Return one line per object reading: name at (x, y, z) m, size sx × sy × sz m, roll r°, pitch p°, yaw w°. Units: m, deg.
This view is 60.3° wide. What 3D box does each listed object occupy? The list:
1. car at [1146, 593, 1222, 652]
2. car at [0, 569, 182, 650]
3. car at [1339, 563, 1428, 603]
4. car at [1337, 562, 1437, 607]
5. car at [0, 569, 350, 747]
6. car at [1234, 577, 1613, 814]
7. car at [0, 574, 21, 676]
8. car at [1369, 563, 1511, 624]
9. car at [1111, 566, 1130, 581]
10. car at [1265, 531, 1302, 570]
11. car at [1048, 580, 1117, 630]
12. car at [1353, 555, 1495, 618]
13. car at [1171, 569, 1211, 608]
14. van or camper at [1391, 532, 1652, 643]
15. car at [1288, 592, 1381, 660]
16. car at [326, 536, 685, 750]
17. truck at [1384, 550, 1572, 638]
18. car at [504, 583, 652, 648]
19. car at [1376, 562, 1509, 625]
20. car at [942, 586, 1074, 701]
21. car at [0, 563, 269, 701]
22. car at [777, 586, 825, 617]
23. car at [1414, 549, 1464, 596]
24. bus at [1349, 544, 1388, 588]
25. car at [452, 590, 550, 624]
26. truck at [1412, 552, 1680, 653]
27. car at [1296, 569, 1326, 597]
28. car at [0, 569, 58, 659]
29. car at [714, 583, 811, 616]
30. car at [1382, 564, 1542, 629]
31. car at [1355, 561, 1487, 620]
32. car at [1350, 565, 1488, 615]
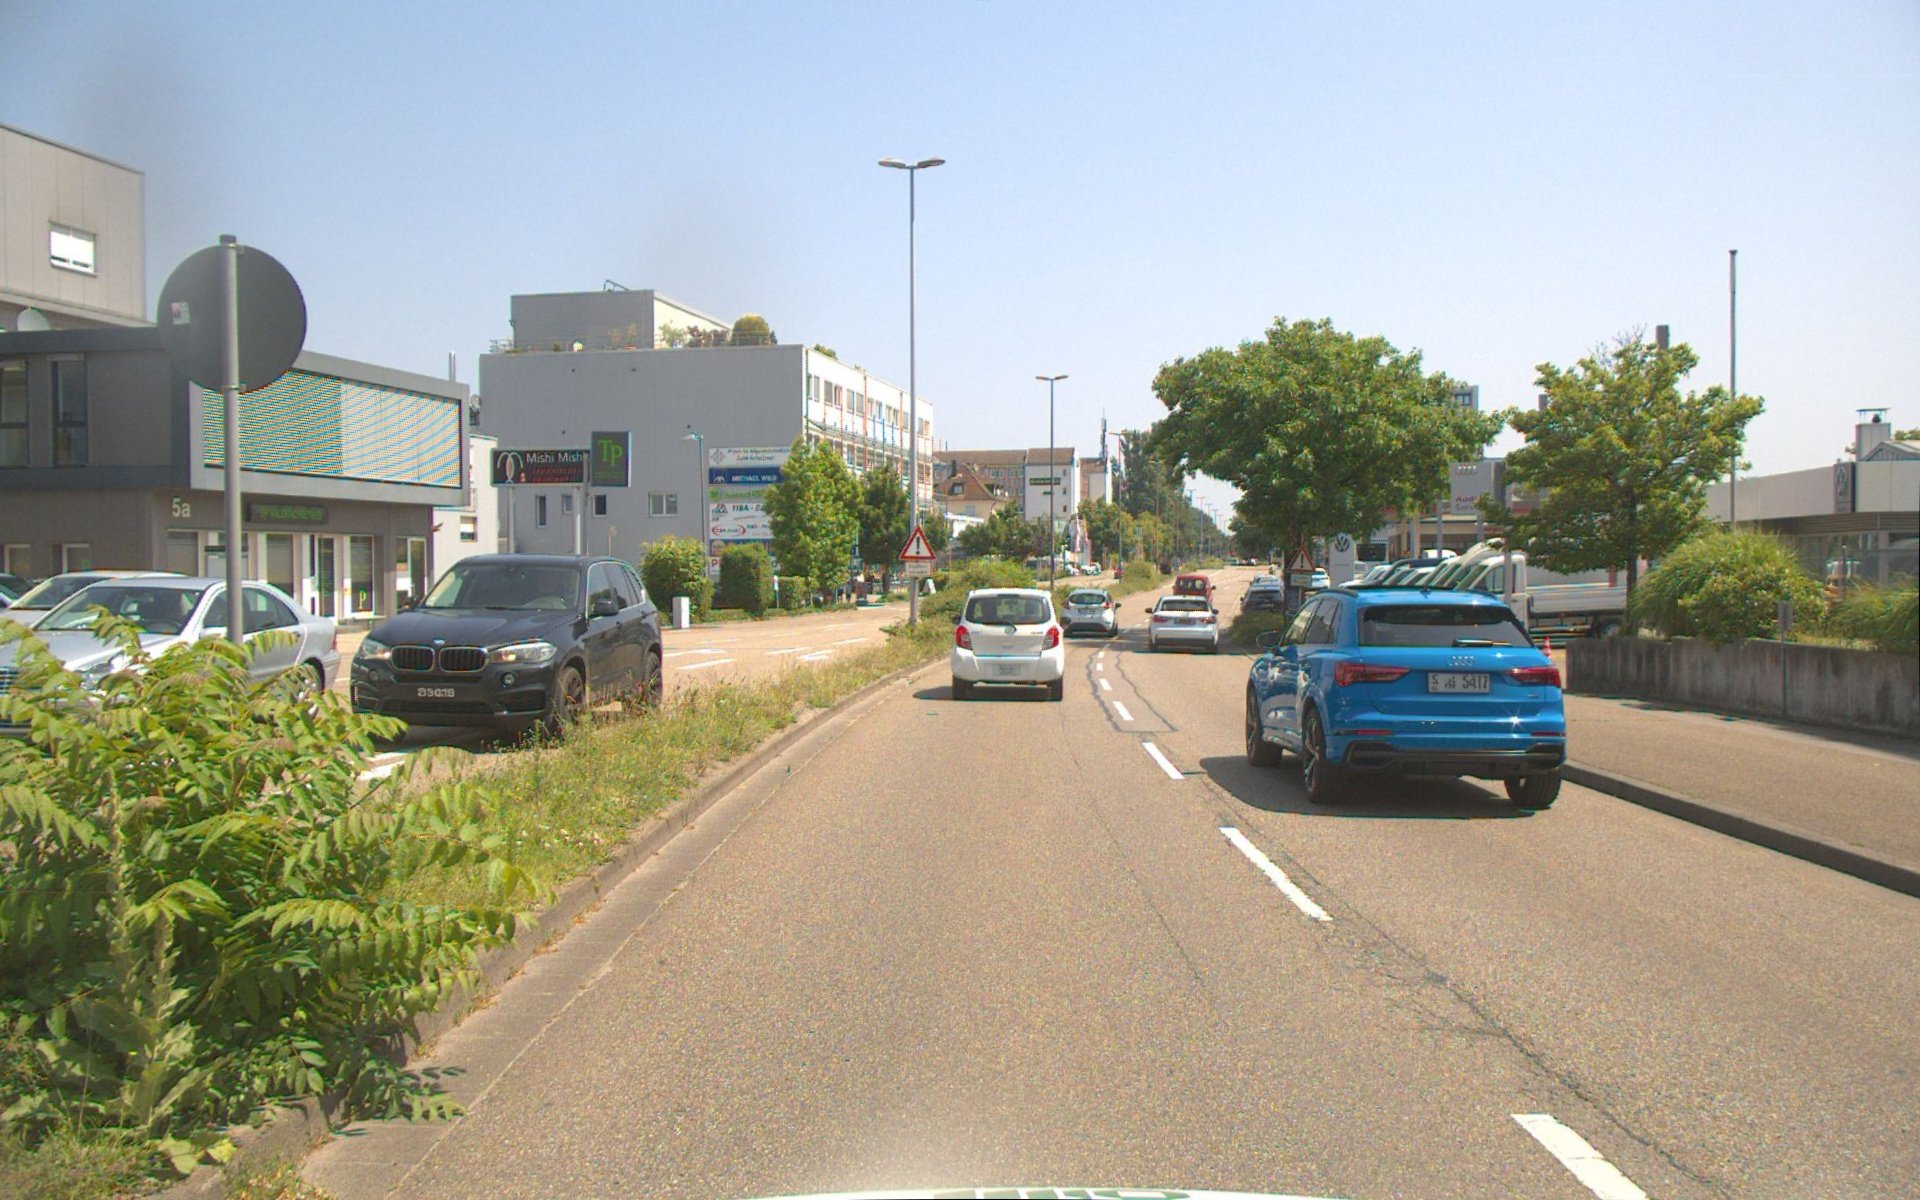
car at (5.673, 0.544, 42.202) m, size 1.632 × 1.423 × 3.795 m, roll 1°, pitch 0°, yaw 3°
car at (-17.942, 0.187, 32.913) m, size 3.970 × 1.548 × 2.002 m, roll 0°, pitch 0°, yaw 7°
car at (20.848, -0.824, 81.627) m, size 4.061 × 1.812 × 1.883 m, roll -1°, pitch -1°, yaw 9°
car at (21.105, -0.756, 81.828) m, size 4.541 × 2.048 × 1.962 m, roll -2°, pitch 1°, yaw 8°
car at (-7.393, 0.455, 15.133) m, size 1.857 × 1.384 × 4.199 m, roll 1°, pitch 0°, yaw 3°
car at (3.551, 0.637, 13.576) m, size 1.874 × 1.625 × 4.395 m, roll 0°, pitch 1°, yaw 0°
car at (-18.025, 0.283, 26.945) m, size 4.508 × 1.655 × 1.855 m, roll 3°, pitch 1°, yaw 9°
car at (18.345, -0.247, 63.436) m, size 4.956 × 2.133 × 2.042 m, roll -2°, pitch 0°, yaw 9°
car at (16.998, -2.815, 174.884) m, size 1.596 × 1.448 × 3.454 m, roll -3°, pitch 0°, yaw 12°
car at (26.268, -3.992, 134.453) m, size 2.088 × 2.888 × 7.315 m, roll -5°, pitch 0°, yaw 6°
car at (3.836, 0.147, 52.351) m, size 1.793 × 1.475 × 3.999 m, roll 1°, pitch 0°, yaw -1°
car at (19.799, -0.575, 70.871) m, size 5.718 × 2.568 × 2.206 m, roll 1°, pitch 0°, yaw 13°
car at (10.899, -0.511, 77.942) m, size 1.756 × 1.759 × 3.976 m, roll 1°, pitch 0°, yaw 8°
van or camper at (15.689, -0.351, 46.563) m, size 6.651 × 2.948 × 2.277 m, roll -1°, pitch 1°, yaw 9°
car at (8.674, 0.558, 38.623) m, size 1.759 × 1.430 × 4.324 m, roll 1°, pitch 1°, yaw 8°
car at (-4.263, 0.382, 16.432) m, size 1.868 × 1.781 × 4.762 m, roll 1°, pitch 0°, yaw 5°
truck at (15.425, -0.180, 49.497) m, size 5.135 × 2.478 × 2.113 m, roll -1°, pitch 1°, yaw 12°
car at (-8.572, 0.327, 37.488) m, size 1.766 × 1.378 × 4.359 m, roll 0°, pitch 0°, yaw 9°
car at (17.580, -0.216, 60.453) m, size 4.413 × 2.049 × 2.200 m, roll -3°, pitch -1°, yaw 11°
car at (0.638, 0.608, 24.176) m, size 1.678 × 1.537 × 3.245 m, roll 1°, pitch 0°, yaw -2°
car at (-10.895, 0.375, 21.478) m, size 1.857 × 1.594 × 4.200 m, roll 1°, pitch 0°, yaw 4°
car at (-8.596, 0.057, 89.538) m, size 1.624 × 1.493 × 3.802 m, roll -2°, pitch 1°, yaw 9°
car at (29.452, -1.729, 101.863) m, size 2.208 × 2.722 × 7.025 m, roll -1°, pitch 1°, yaw 10°
bus at (31.626, -2.709, 128.227) m, size 2.745 × 3.132 × 12.297 m, roll 1°, pitch 2°, yaw 14°
car at (-21.203, 0.314, 76.469) m, size 3.888 × 1.493 × 1.965 m, roll -1°, pitch 1°, yaw 5°
truck at (14.777, 0.041, 42.106) m, size 6.112 × 2.377 × 2.371 m, roll -1°, pitch 1°, yaw 11°
car at (21.826, -1.072, 103.038) m, size 1.631 × 1.623 × 4.617 m, roll -1°, pitch 1°, yaw 10°
car at (-19.112, 0.117, 29.978) m, size 4.511 × 1.522 × 1.753 m, roll 4°, pitch 1°, yaw 2°
car at (-9.295, -0.034, 77.922) m, size 4.133 × 1.372 × 1.982 m, roll -1°, pitch 1°, yaw 9°
car at (16.588, -0.124, 54.891) m, size 4.808 × 2.005 × 2.144 m, roll -1°, pitch 0°, yaw 10°
car at (18.322, -0.385, 65.926) m, size 4.795 × 2.151 × 2.131 m, roll -2°, pitch 1°, yaw 9°
car at (20.363, -0.463, 73.615) m, size 5.768 × 2.049 × 2.261 m, roll 1°, pitch 1°, yaw 12°
